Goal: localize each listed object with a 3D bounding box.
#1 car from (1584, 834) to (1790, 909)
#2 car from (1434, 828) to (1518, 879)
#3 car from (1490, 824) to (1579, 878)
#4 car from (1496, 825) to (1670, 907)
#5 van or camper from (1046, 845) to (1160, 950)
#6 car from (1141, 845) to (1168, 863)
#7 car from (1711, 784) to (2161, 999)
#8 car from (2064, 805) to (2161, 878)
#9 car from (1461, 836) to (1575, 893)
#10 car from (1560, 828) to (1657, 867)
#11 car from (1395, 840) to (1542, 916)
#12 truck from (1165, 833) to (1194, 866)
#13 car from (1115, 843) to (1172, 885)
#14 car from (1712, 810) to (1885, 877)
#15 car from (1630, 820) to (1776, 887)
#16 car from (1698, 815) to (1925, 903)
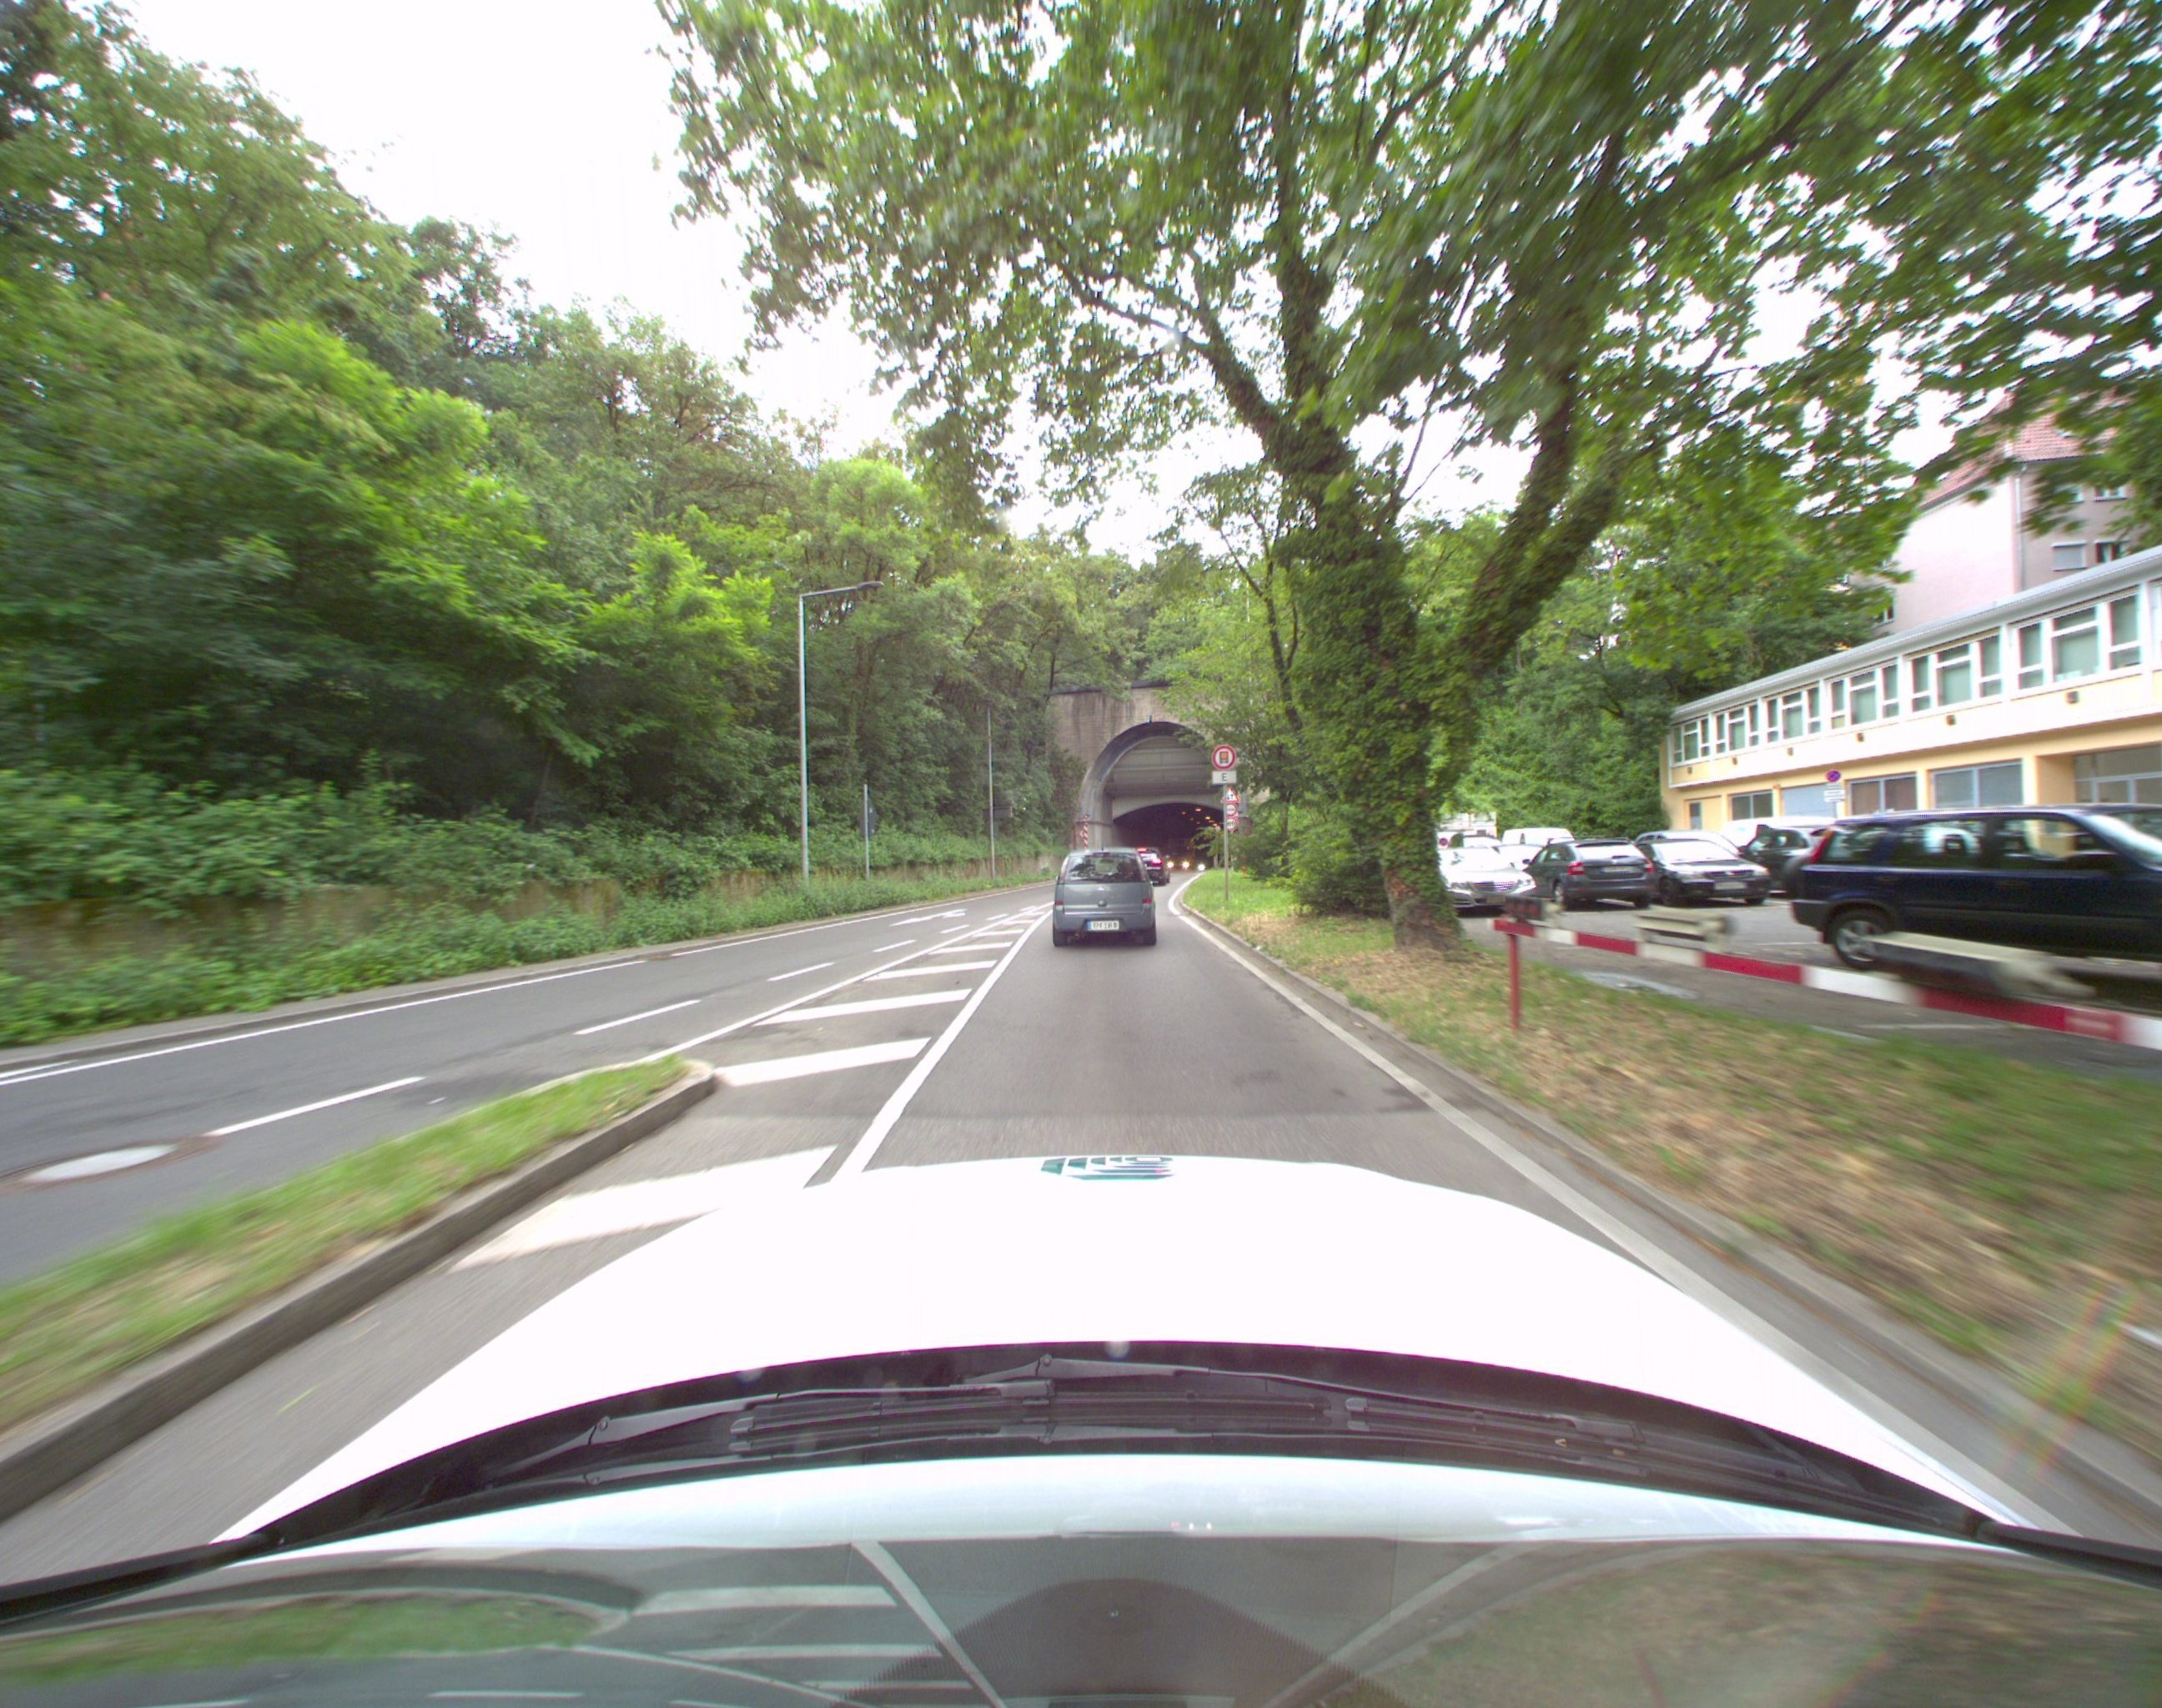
[{"bbox_3d":[13.052,0.315,17.946,1.774,1.378,4.608,-3,0,11],"label":"car"},{"bbox_3d":[16.049,-0.013,33.360,1.844,1.878,4.899,-2,0,10],"label":"car"},{"bbox_3d":[18.290,-0.113,33.108,1.844,2.014,4.577,-2,0,12],"label":"car"},{"bbox_3d":[11.120,0.215,18.468,1.774,1.558,4.608,-3,0,11],"label":"car"},{"bbox_3d":[0.378,0.647,14.393,1.729,1.578,3.647,-1,1,1],"label":"van or camper"},{"bbox_3d":[6.463,0.001,70.911,1.856,1.371,4.470,-3,1,11],"label":"car"},{"bbox_3d":[9.036,0.267,7.728,1.808,1.665,4.870,-4,-1,-8],"label":"car"},{"bbox_3d":[23.039,-0.297,16.550,1.646,1.504,3.667,-3,0,-1],"label":"car"},{"bbox_3d":[12.410,0.293,23.403,1.732,1.442,3.910,-3,-1,11],"label":"car"},{"bbox_3d":[21.006,-0.240,32.641,1.784,1.426,4.340,-2,0,12],"label":"car"},{"bbox_3d":[8.660,0.445,18.706,1.774,1.442,5.078,-3,0,11],"label":"car"},{"bbox_3d":[11.432,-0.504,93.638,2.658,3.667,7.541,-1,0,11],"label":"truck"},{"bbox_3d":[2.804,0.371,35.657,1.981,1.653,4.013,-3,0,11],"label":"car"},{"bbox_3d":[18.619,-0.346,21.403,1.792,1.441,4.264,-2,4,16],"label":"car"},{"bbox_3d":[16.571,-0.072,21.942,1.792,1.441,4.025,-2,4,16],"label":"car"},{"bbox_3d":[15.425,0.074,17.556,1.772,1.594,4.423,-3,0,14],"label":"car"}]
